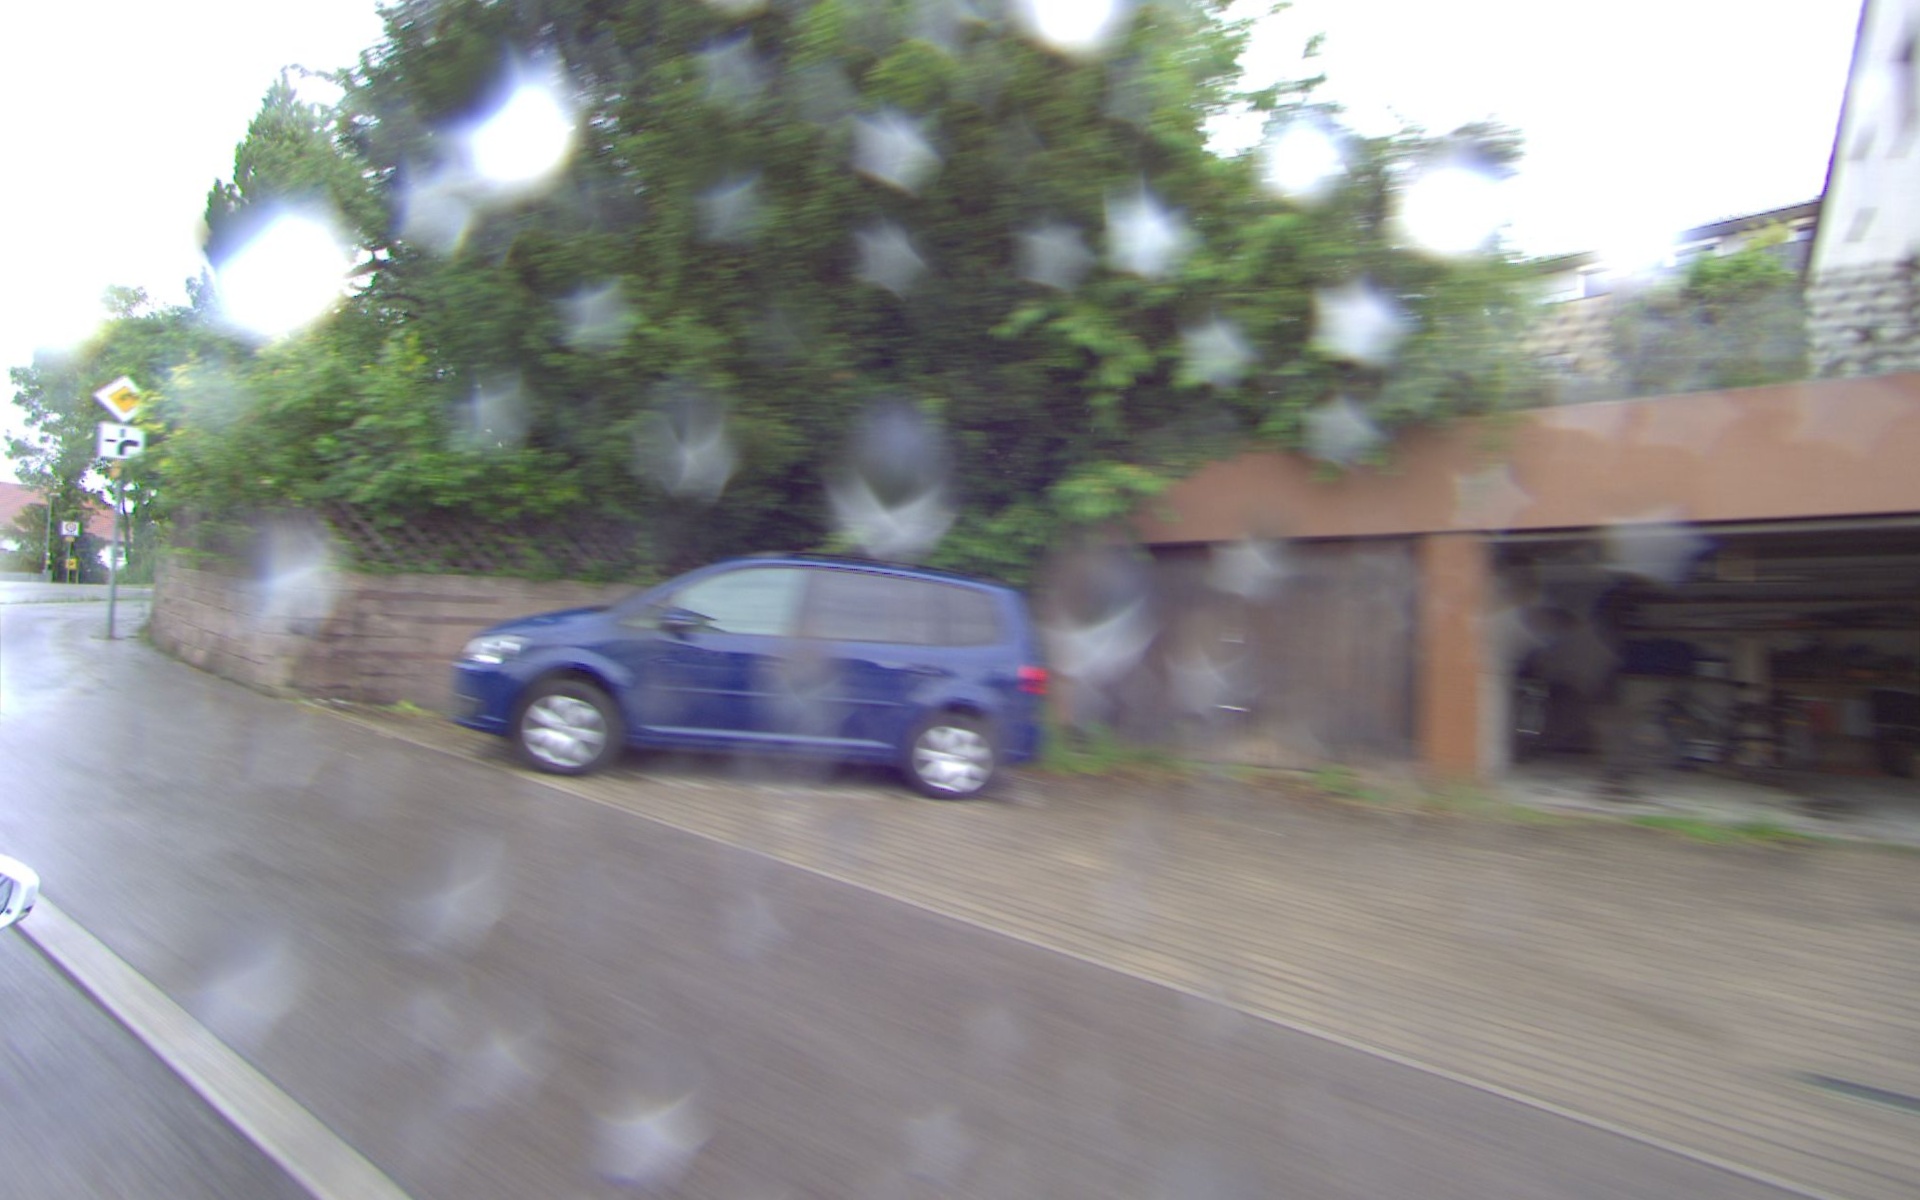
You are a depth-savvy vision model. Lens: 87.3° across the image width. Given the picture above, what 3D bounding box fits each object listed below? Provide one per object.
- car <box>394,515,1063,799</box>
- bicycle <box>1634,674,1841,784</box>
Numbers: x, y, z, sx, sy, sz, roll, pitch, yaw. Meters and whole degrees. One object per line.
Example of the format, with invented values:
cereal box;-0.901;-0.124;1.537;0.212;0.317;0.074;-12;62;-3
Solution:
car;-1.603;0.386;7.637;4.268;1.629;1.849;5;4;-13
bicycle;8.551;1.390;11.169;1.719;1.017;0.677;1;0;32
